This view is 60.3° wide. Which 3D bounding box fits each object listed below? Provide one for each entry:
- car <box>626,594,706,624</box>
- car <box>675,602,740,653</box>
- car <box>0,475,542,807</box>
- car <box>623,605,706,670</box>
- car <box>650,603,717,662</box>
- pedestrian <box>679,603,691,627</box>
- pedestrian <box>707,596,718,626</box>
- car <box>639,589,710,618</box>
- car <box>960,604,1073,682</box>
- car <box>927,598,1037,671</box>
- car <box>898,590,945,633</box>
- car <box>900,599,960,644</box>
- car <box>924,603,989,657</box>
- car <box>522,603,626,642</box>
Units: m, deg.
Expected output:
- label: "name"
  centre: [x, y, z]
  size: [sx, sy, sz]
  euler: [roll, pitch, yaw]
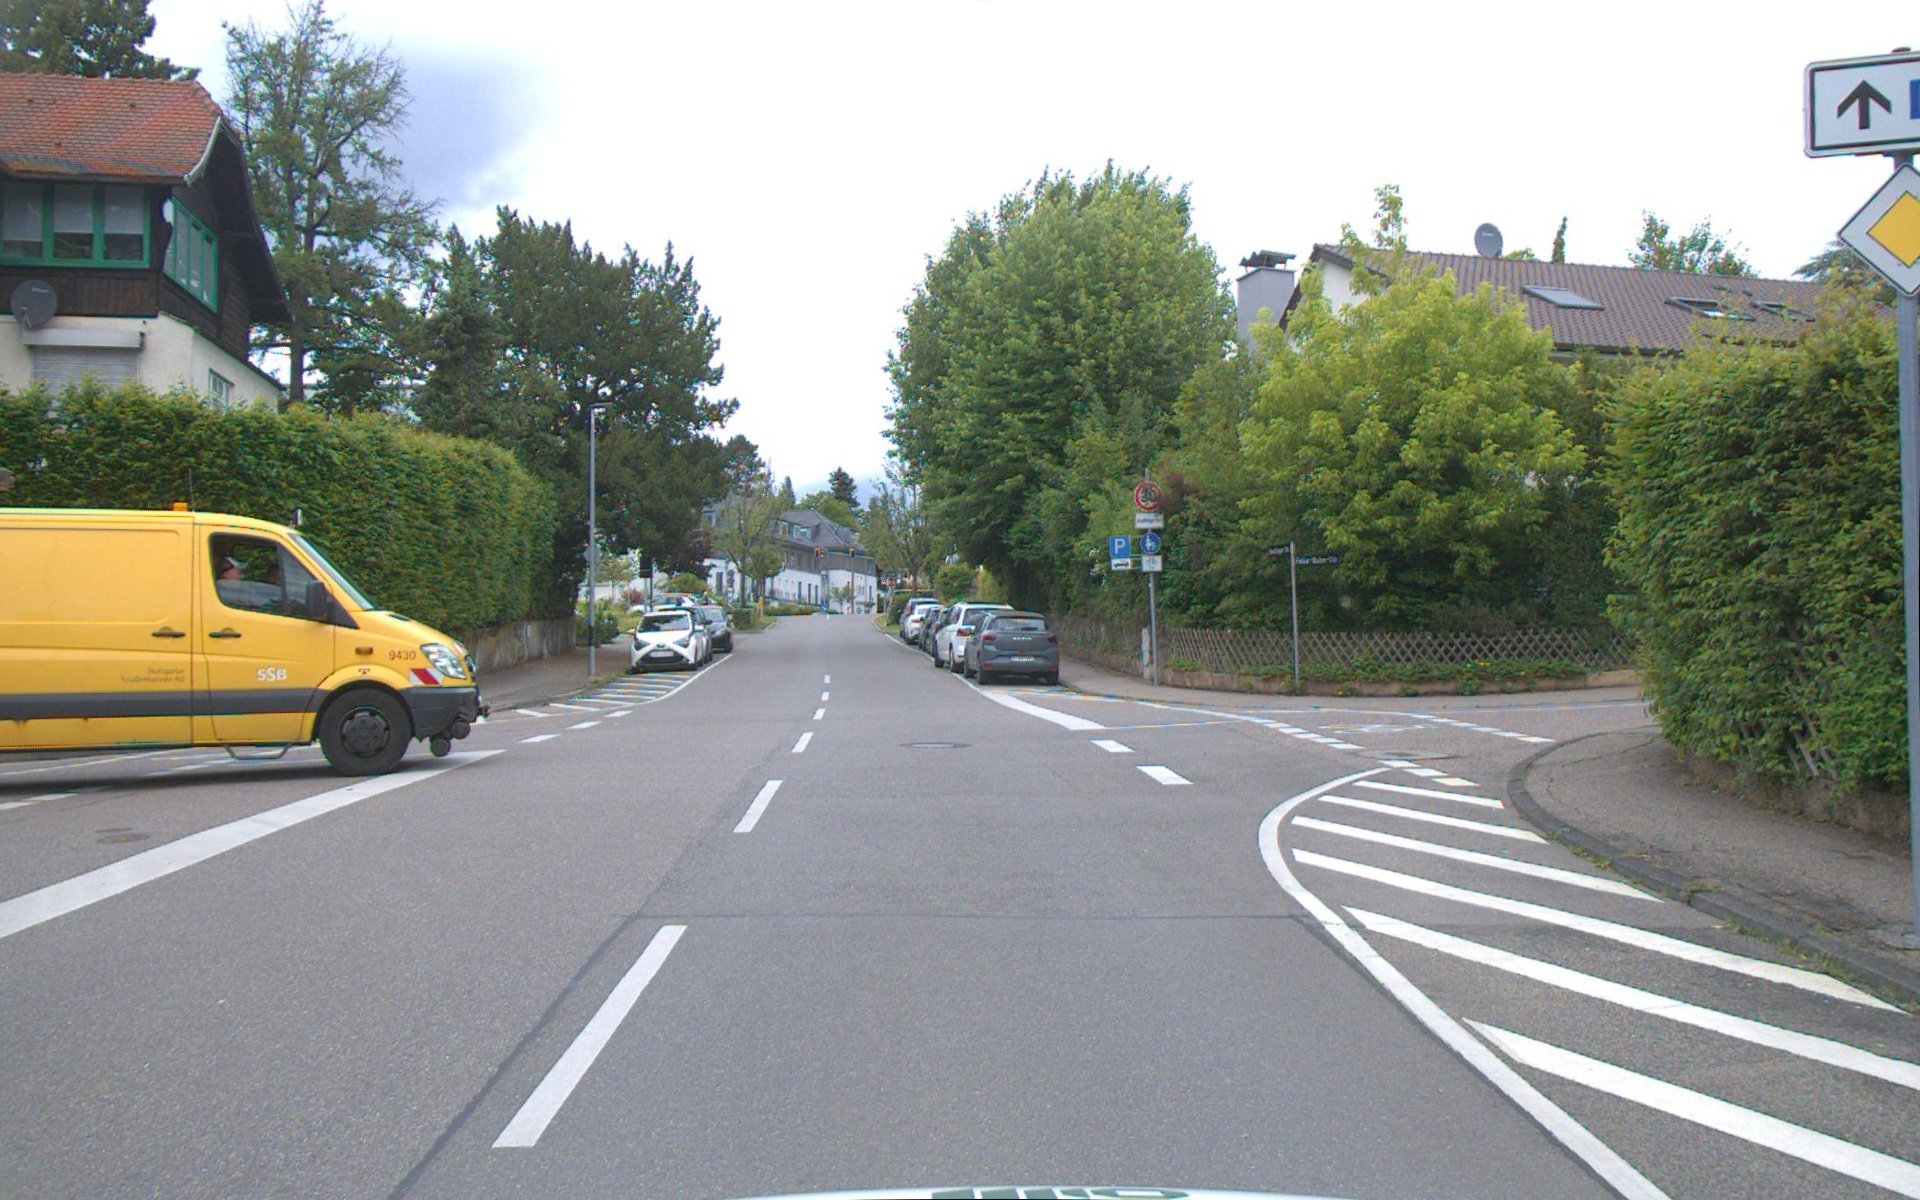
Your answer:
- label: "car"
  centre: [-16.729, 0.516, 94.311]
  size: [4.302, 1.594, 2.064]
  euler: [-1, 0, -6]
- label: "car"
  centre: [-8.104, 0.851, 53.474]
  size: [1.815, 1.495, 4.677]
  euler: [-1, 0, -6]
- label: "car"
  centre: [-6.962, 0.299, 14.719]
  size: [6.036, 2.647, 2.353]
  euler: [-1, 0, -21]
- label: "car"
  centre: [-7.336, 0.903, 41.292]
  size: [1.711, 1.473, 3.509]
  euler: [-1, 0, -5]
- label: "car"
  centre: [-7.557, 0.880, 45.356]
  size: [1.592, 1.545, 2.972]
  euler: [-1, 0, -6]
- label: "pedestrian"
  centre: [-15.392, 0.851, 92.562]
  size: [0.595, 1.305, 0.899]
  euler: [1, 0, -5]
- label: "pedestrian"
  centre: [-14.015, 0.607, 93.633]
  size: [0.581, 1.669, 0.565]
  euler: [-1, 0, -4]
- label: "car"
  centre: [-16.699, 0.215, 96.965]
  size: [3.908, 1.682, 2.007]
  euler: [0, 0, -4]
- label: "car"
  centre: [1.174, 0.897, 36.438]
  size: [1.900, 1.517, 4.451]
  euler: [-1, 0, -6]
- label: "car"
  centre: [0.477, 0.804, 41.335]
  size: [1.964, 1.637, 4.748]
  euler: [-1, 0, -9]
- label: "car"
  centre: [-1.585, 0.455, 67.694]
  size: [1.683, 1.661, 3.925]
  euler: [1, 0, -4]
- label: "car"
  centre: [-1.165, 0.774, 61.676]
  size: [1.954, 1.517, 5.000]
  euler: [-1, 0, -4]
- label: "car"
  centre: [-0.155, 0.897, 50.953]
  size: [1.664, 1.534, 4.156]
  euler: [2, 0, -4]
- label: "car"
  centre: [-14.561, 0.835, 62.536]
  size: [3.725, 1.378, 1.737]
  euler: [0, 0, -10]
